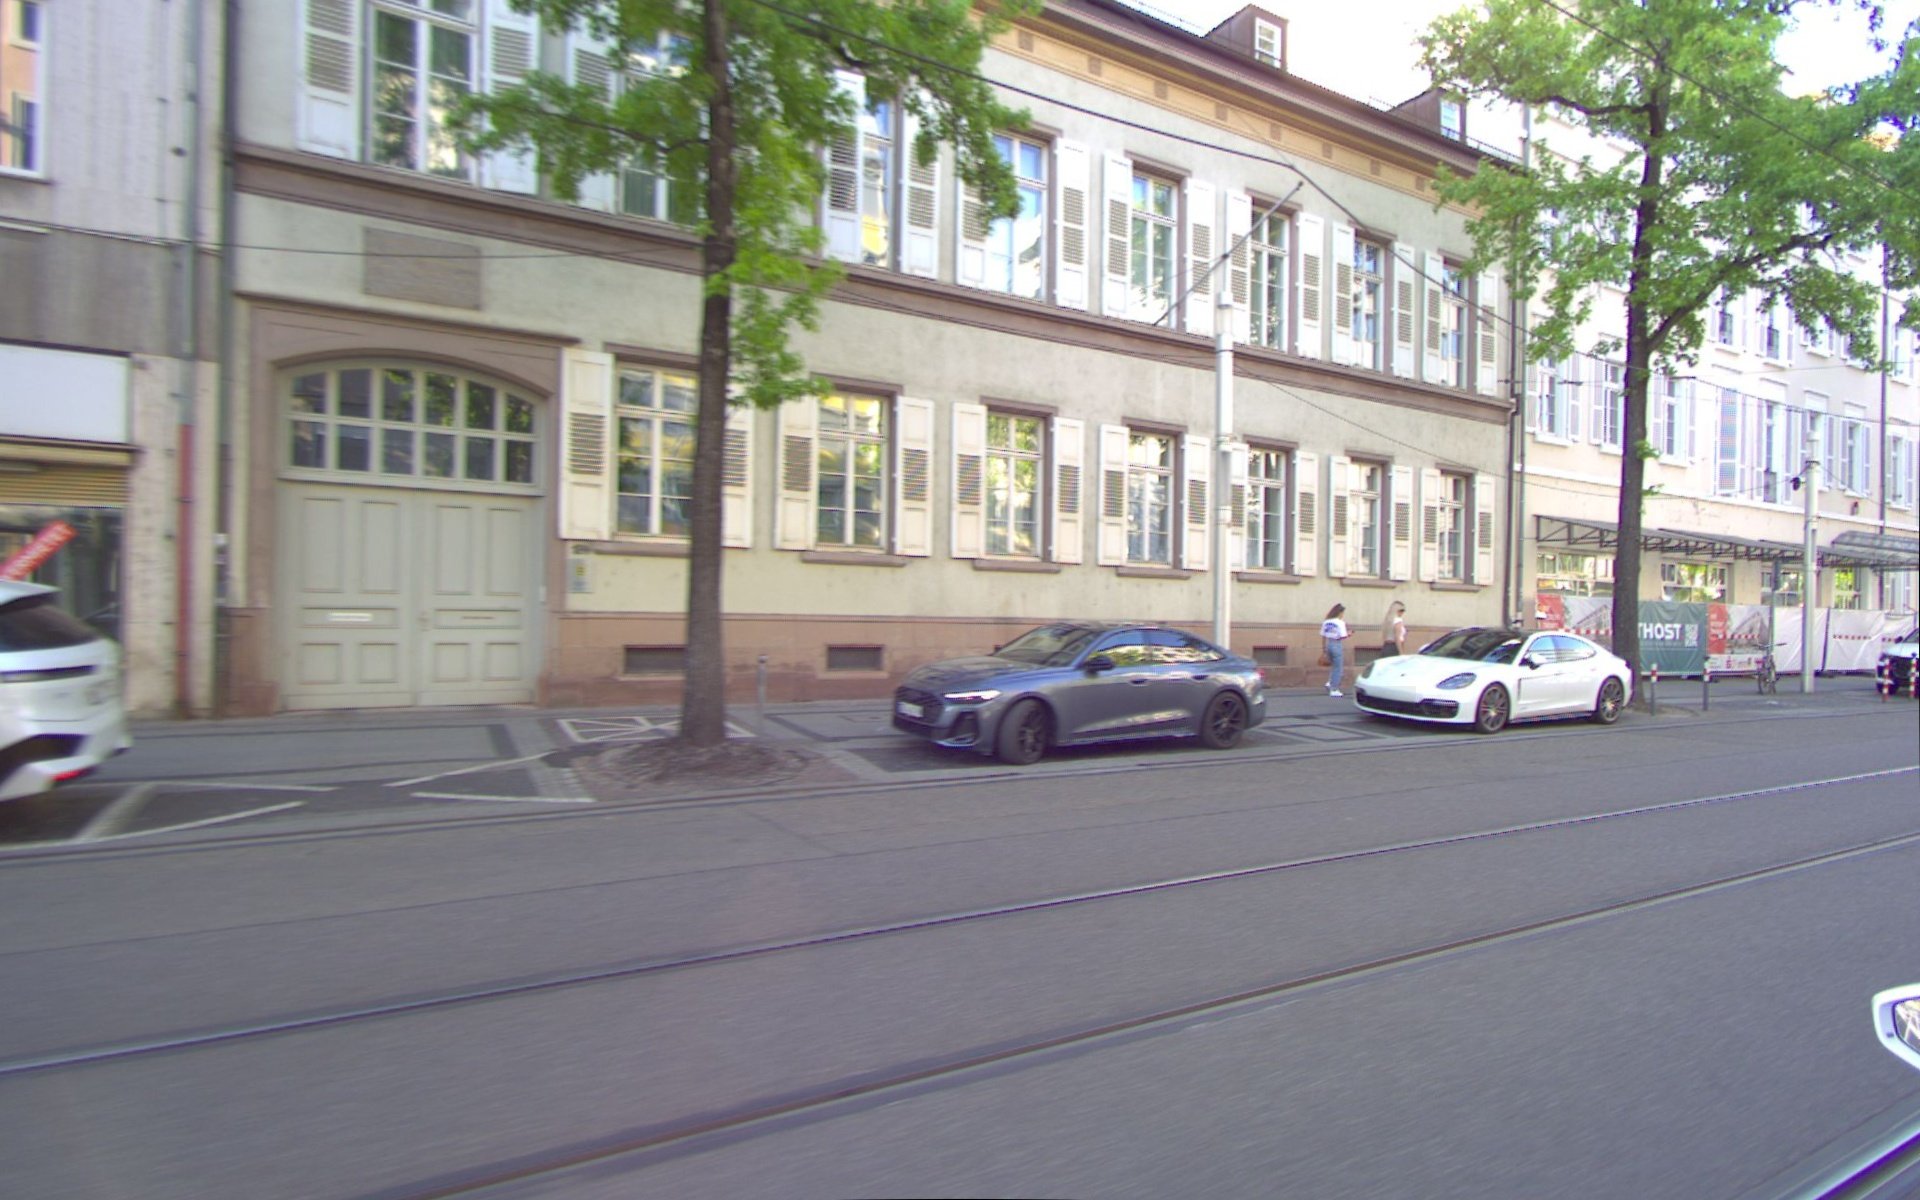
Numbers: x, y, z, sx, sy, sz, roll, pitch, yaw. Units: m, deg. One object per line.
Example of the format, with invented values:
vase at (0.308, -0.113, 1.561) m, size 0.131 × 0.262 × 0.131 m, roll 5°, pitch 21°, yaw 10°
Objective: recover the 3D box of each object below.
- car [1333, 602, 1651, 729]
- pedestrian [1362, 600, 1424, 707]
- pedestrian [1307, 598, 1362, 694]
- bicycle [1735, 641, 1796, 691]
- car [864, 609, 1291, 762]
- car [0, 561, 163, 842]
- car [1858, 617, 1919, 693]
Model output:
car at (8.221, 0.949, 15.440) m, size 4.848 × 1.662 × 1.938 m, roll 2°, pitch 0°, yaw -28°
pedestrian at (7.238, 0.882, 16.807) m, size 0.648 × 1.743 × 0.683 m, roll 1°, pitch 0°, yaw -30°
pedestrian at (6.845, 0.830, 18.370) m, size 0.640 × 1.702 × 0.671 m, roll 1°, pitch 0°, yaw -30°
bicycle at (18.083, 1.466, 22.545) m, size 1.990 × 1.064 × 0.589 m, roll 2°, pitch -1°, yaw -37°
car at (1.473, 0.897, 11.722) m, size 4.794 × 1.431 × 1.951 m, roll 2°, pitch 0°, yaw -33°
car at (-8.033, 0.548, 6.055) m, size 4.754 × 1.662 × 1.953 m, roll 2°, pitch 2°, yaw -29°
car at (24.021, 1.339, 24.252) m, size 4.951 × 1.714 × 1.953 m, roll 2°, pitch 0°, yaw -29°
